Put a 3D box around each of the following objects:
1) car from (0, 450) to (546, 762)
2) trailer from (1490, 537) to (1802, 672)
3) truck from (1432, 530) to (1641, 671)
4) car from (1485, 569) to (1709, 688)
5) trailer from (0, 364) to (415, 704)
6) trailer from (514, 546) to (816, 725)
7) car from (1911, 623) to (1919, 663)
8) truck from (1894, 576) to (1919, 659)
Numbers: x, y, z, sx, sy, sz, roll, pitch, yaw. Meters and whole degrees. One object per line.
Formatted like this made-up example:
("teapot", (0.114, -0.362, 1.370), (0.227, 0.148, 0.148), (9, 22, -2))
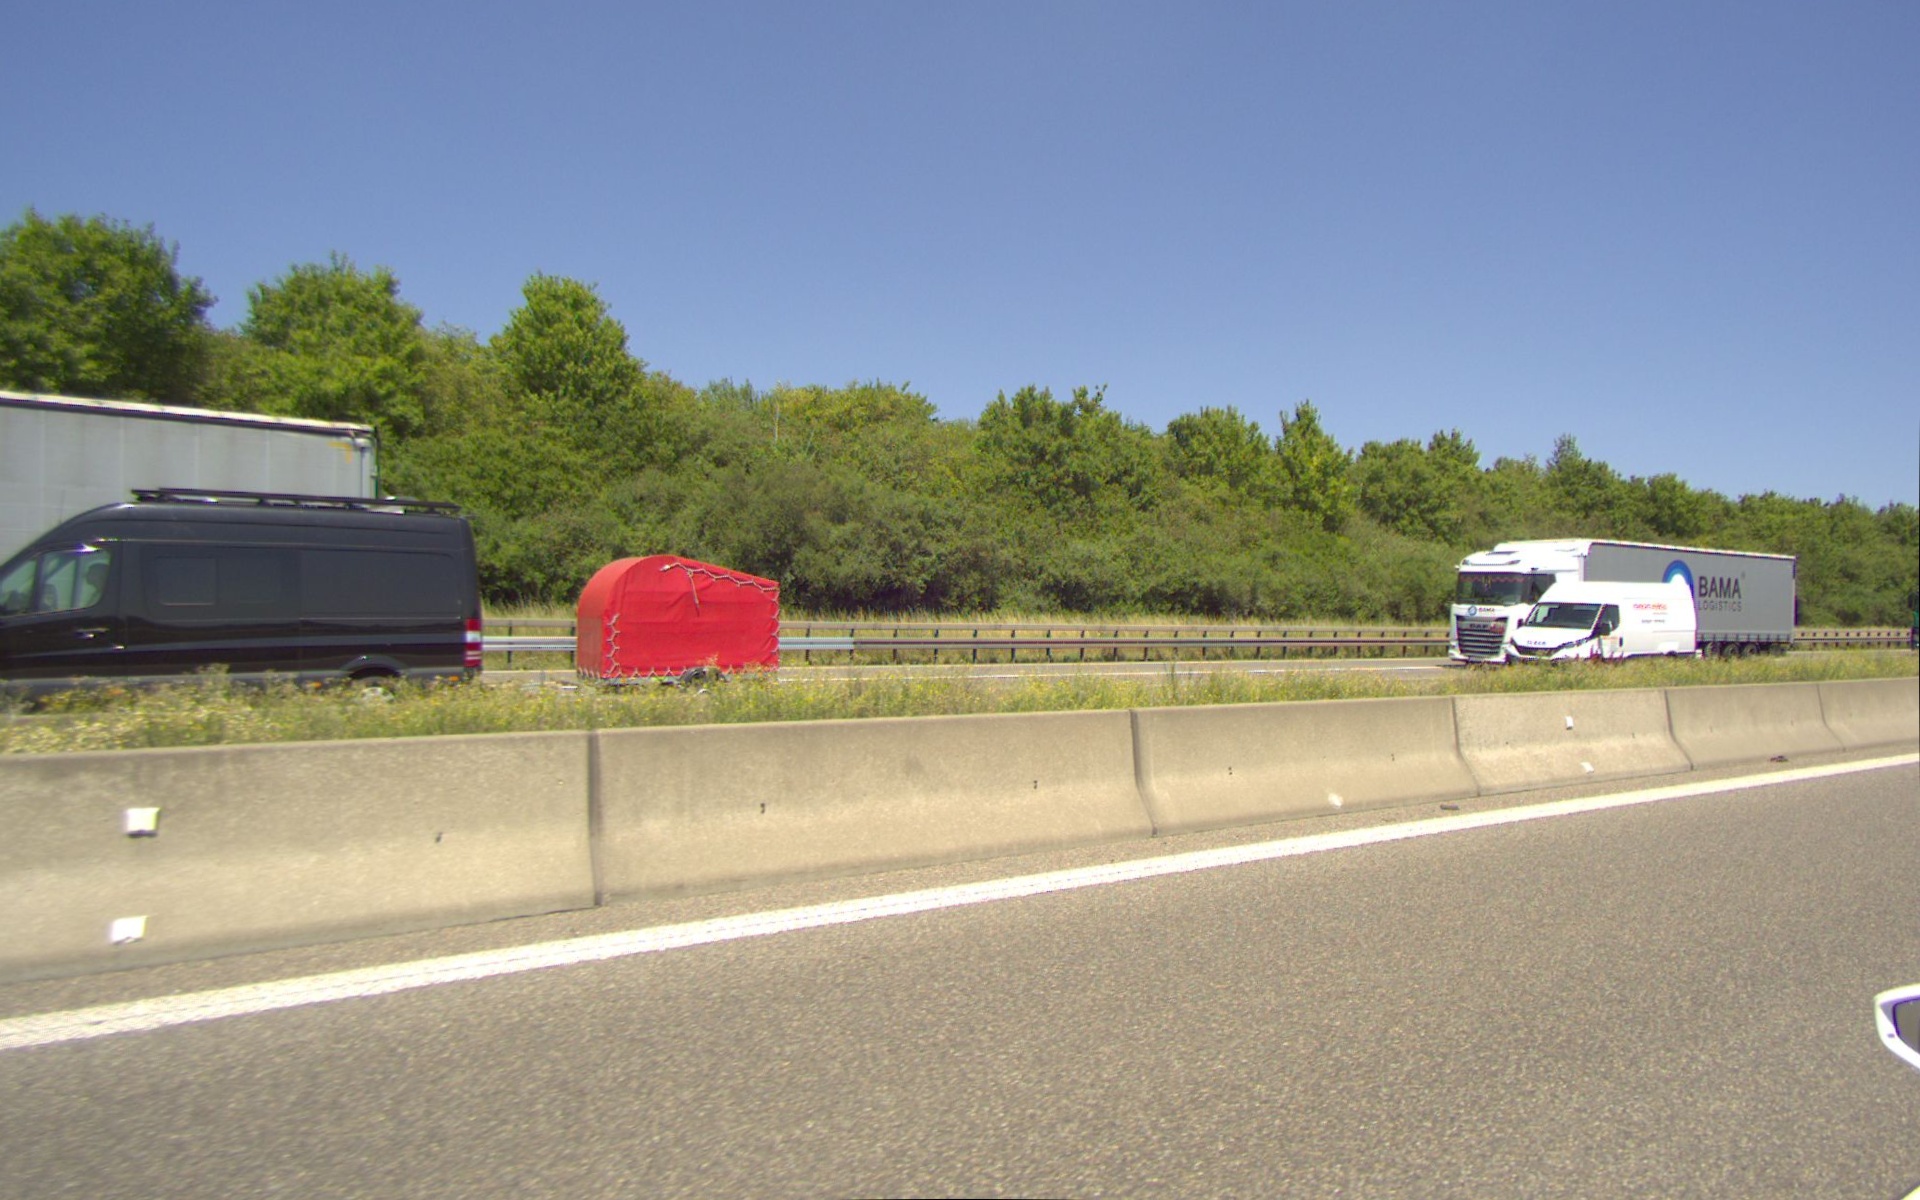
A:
("car", (-8.485, 0.095, 11.709), (6.479, 3.054, 2.224), (1, -1, -33))
("trailer", (24.496, 0.280, 35.365), (14.265, 4.140, 2.891), (1, -1, -29))
("truck", (18.362, 0.089, 31.948), (6.524, 4.090, 2.840), (1, -1, -29))
("car", (16.826, 0.801, 26.423), (6.547, 2.823, 2.129), (3, -1, -30))
("trailer", (-14.899, -0.918, 12.621), (14.027, 4.262, 2.967), (2, 0, -30))
("trailer", (-4.210, 0.492, 14.552), (3.918, 2.283, 1.560), (1, -1, -33))
("car", (38.252, 1.716, 38.177), (4.801, 1.479, 1.743), (3, -1, -30))
("truck", (50.637, 0.877, 49.830), (11.105, 3.950, 2.832), (1, -1, -28))
